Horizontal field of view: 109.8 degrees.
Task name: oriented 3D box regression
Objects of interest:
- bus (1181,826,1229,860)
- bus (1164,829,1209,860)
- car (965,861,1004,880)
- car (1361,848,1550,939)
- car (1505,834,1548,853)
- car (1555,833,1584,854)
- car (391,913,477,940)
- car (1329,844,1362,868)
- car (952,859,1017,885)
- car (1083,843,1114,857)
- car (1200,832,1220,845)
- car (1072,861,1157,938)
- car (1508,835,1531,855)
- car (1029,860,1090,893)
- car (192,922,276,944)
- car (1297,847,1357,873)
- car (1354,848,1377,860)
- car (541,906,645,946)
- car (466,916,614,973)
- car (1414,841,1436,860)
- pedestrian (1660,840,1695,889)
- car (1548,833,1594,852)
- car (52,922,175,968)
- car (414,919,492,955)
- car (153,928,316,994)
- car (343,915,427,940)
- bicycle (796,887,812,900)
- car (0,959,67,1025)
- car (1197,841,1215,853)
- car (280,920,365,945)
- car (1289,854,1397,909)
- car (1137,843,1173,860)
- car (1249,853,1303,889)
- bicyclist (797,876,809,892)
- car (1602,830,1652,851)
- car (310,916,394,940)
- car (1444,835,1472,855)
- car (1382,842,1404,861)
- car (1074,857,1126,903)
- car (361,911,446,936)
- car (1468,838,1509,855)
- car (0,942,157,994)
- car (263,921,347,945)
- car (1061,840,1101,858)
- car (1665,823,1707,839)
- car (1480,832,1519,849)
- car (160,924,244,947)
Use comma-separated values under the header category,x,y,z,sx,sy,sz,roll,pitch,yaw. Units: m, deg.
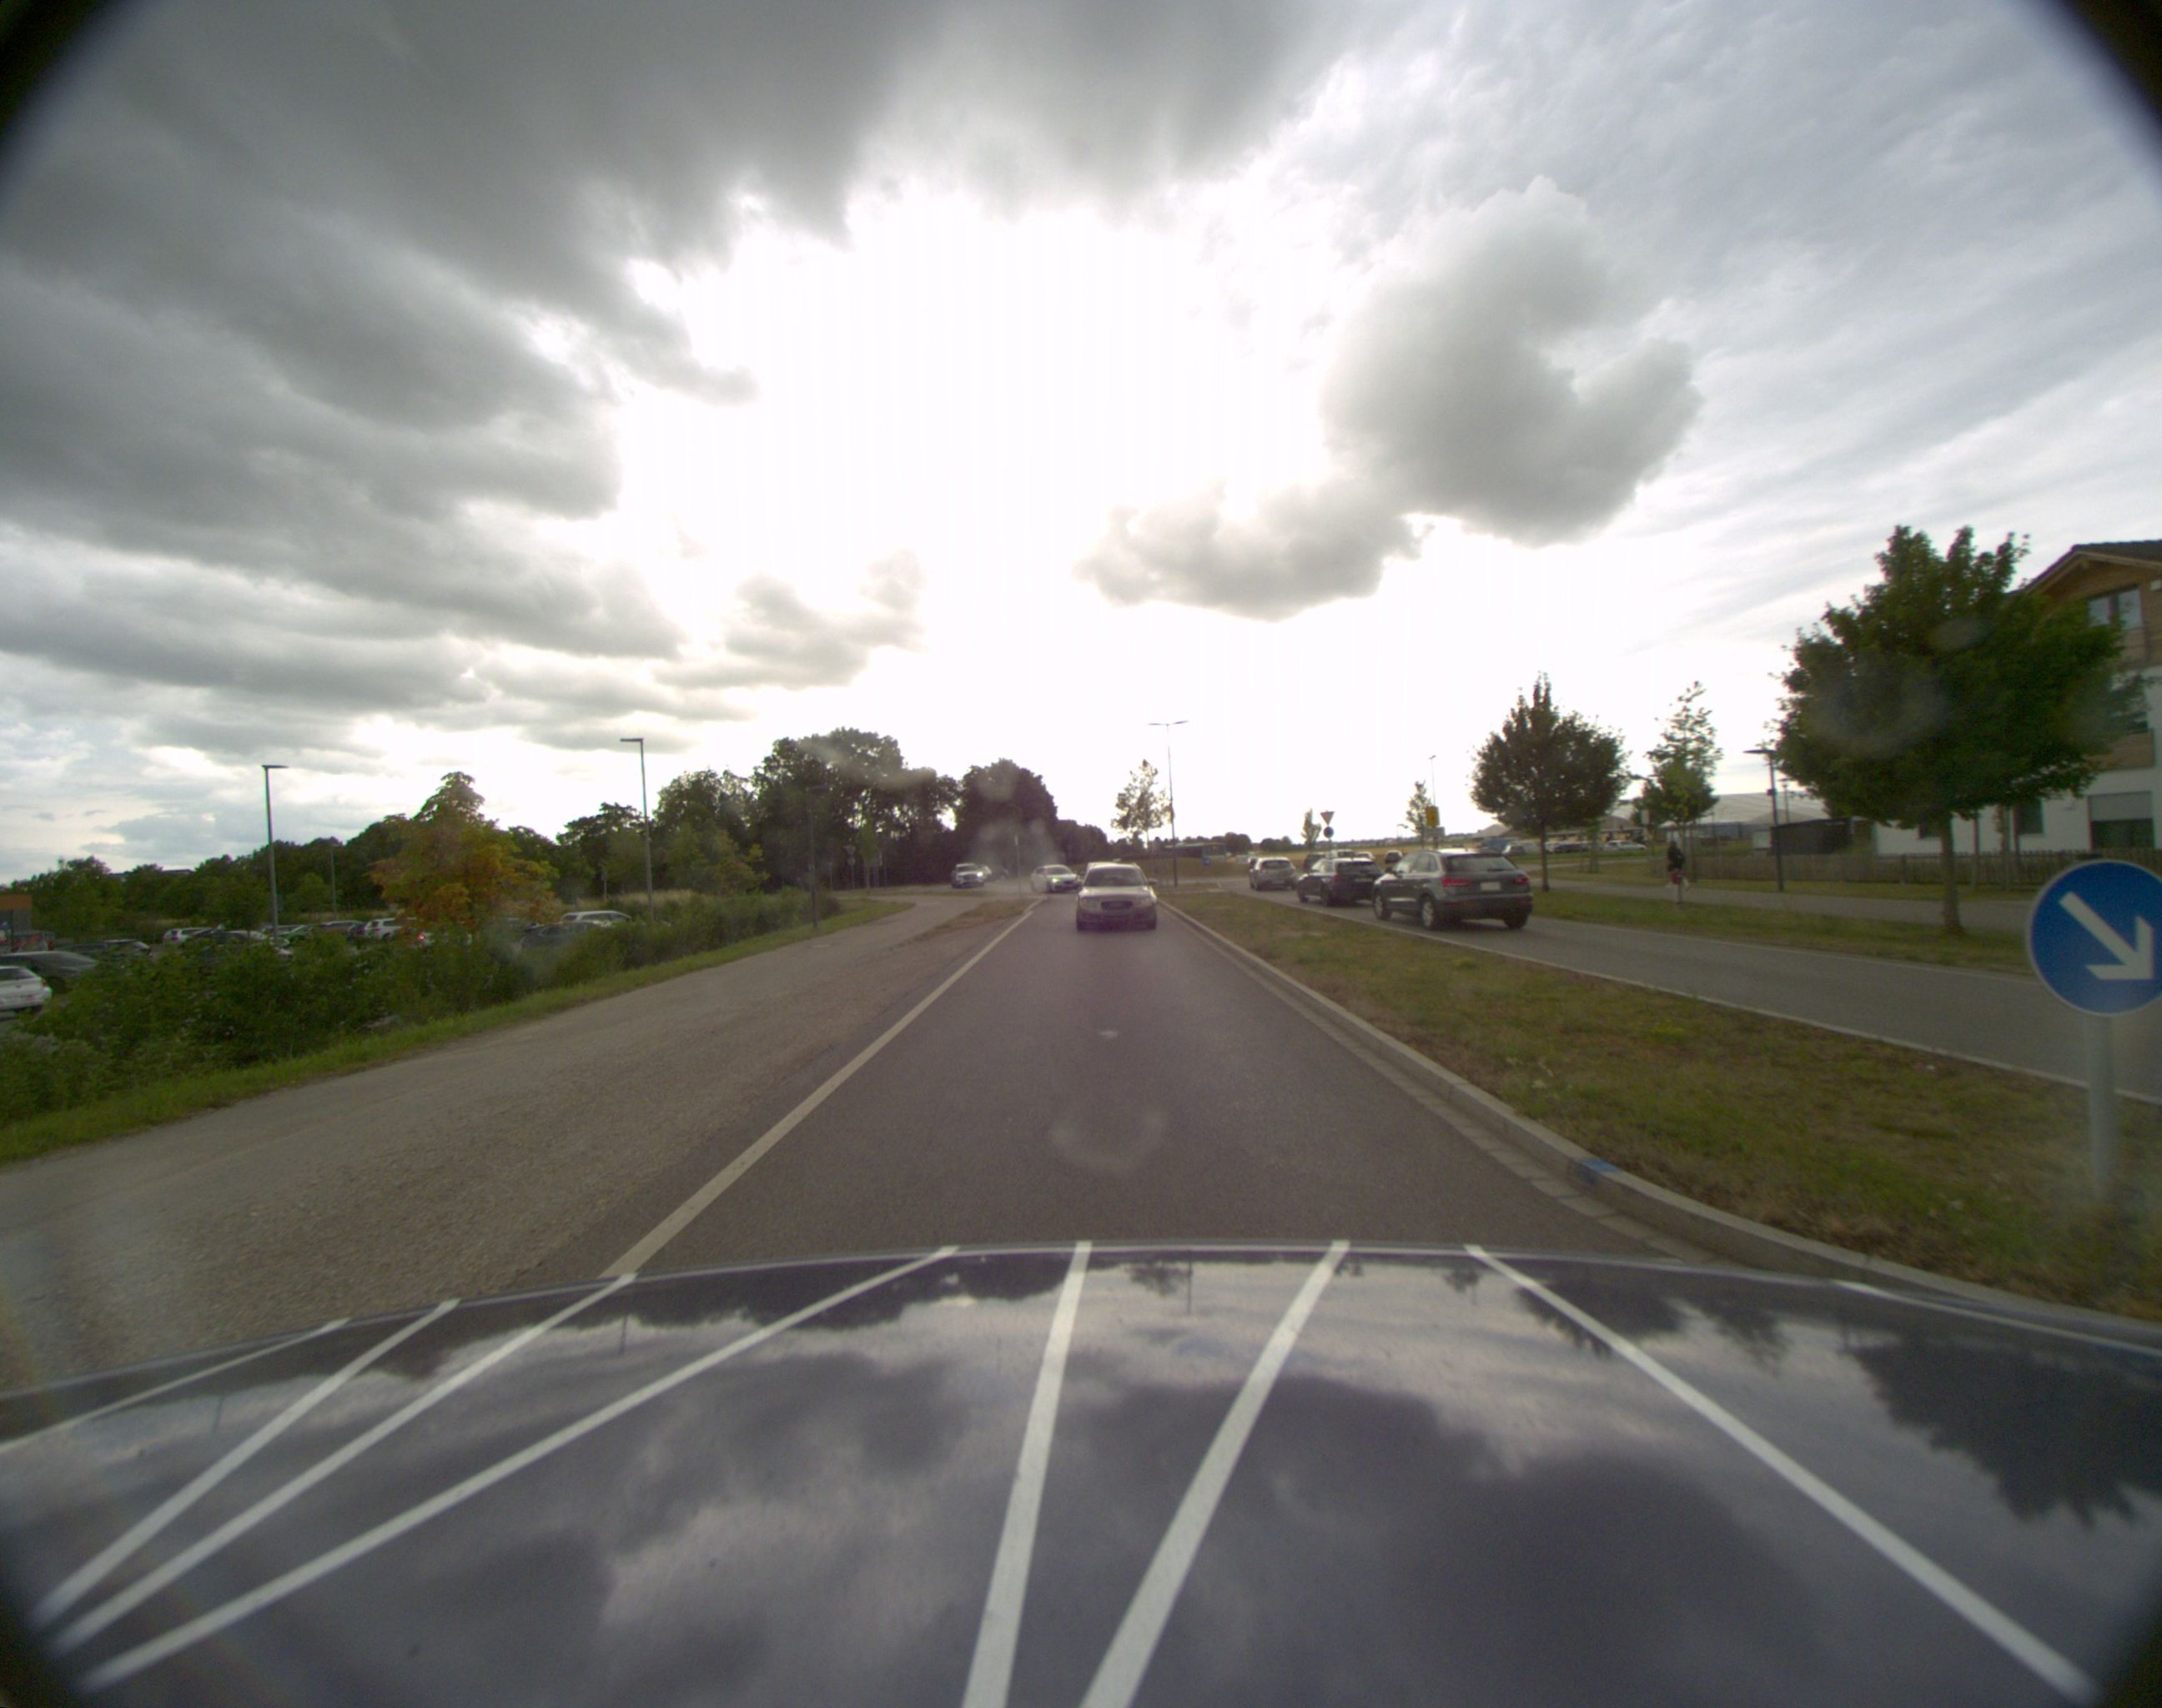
category,x,y,z,sx,sy,sz,roll,pitch,yaw
bus,12.986,-1.096,80.162,2.994,3.261,6.479,-2,0,-11
bus,11.931,-1.053,86.709,2.994,3.261,6.696,-2,0,-11
car,-8.329,1.433,65.887,1.996,1.510,3.775,-2,0,16
car,7.464,0.715,15.677,1.830,1.573,4.216,-2,0,1
car,52.203,-1.207,89.034,4.000,2.002,1.999,-2,0,-8
car,50.159,-1.074,78.102,2.227,2.002,4.007,-2,0,28
car,-43.339,4.825,50.952,1.697,1.352,4.007,-2,0,28
car,20.671,0.120,59.469,1.828,1.712,4.402,-2,1,11
car,-6.750,1.253,53.267,4.008,1.674,1.995,-2,0,-41
car,2.204,-0.539,93.466,1.995,1.674,4.008,-2,0,33
car,15.664,-1.847,92.333,1.774,1.435,4.000,-2,0,1
car,0.816,0.965,17.640,1.700,1.457,4.001,-2,0,4
car,46.745,-0.954,81.077,1.995,2.002,4.007,-2,0,28
car,-1.216,1.187,40.683,1.873,1.533,4.192,-4,0,-21
car,-66.028,6.134,59.296,1.697,1.352,4.007,-2,0,28
car,15.587,0.377,48.019,1.826,1.480,4.346,-2,0,43
car,32.042,-0.052,85.546,1.995,1.280,4.007,-2,0,25
car,-25.510,3.720,39.905,1.697,1.707,4.250,-2,0,28
car,-19.058,3.167,26.884,3.997,1.696,1.657,-2,0,-1
car,37.596,-0.398,83.004,1.995,2.002,4.007,-2,0,25
pedestrian,18.986,0.331,24.178,0.547,1.521,0.586,-5,0,1
car,54.724,-1.306,84.927,4.001,2.002,1.998,-2,0,-12
car,-47.872,4.500,37.642,3.994,2.002,2.001,-2,0,9
car,-32.334,4.239,39.267,1.846,1.352,3.993,-2,0,-20
car,-28.862,3.616,25.988,3.390,1.696,1.802,-5,0,-1
car,-49.438,5.193,54.040,1.697,1.352,4.007,-2,0,28
bicycle,-21.405,3.073,58.682,1.297,0.956,0.569,-2,0,41
car,-29.597,3.700,19.930,3.558,1.524,1.753,-2,0,-1
car,16.636,-0.929,101.340,1.774,1.435,4.000,-2,0,1
car,-55.229,5.684,55.394,1.697,1.352,4.007,-2,0,28
car,7.884,0.784,23.314,1.830,1.480,4.350,-2,0,1
car,7.959,-0.259,81.723,1.994,1.674,4.008,-2,0,37
car,8.740,0.746,34.367,1.829,1.480,4.218,-2,0,7
bicyclist,-21.478,2.339,58.719,0.657,1.236,0.556,-2,0,41
car,56.724,-1.399,78.952,4.001,2.002,1.998,-2,0,-12
car,-52.206,5.285,54.496,1.697,1.352,4.007,-2,0,28
car,40.226,-0.920,81.168,1.996,2.002,4.005,-2,0,16
car,34.719,-0.302,84.570,1.995,2.002,4.007,-2,0,25
car,0.865,0.985,31.246,1.870,1.578,5.063,-4,0,3
car,-46.674,4.766,52.449,1.697,1.352,4.007,-2,0,28
car,49.749,-0.893,92.734,4.001,2.002,1.998,-2,0,-12
car,-35.176,3.934,26.318,4.127,1.476,2.001,-2,0,5
car,-57.784,5.837,56.655,1.697,1.352,4.007,-2,0,28
car,0.006,-0.535,82.364,1.995,1.793,4.781,-2,0,33
car,81.760,-3.076,102.719,4.568,2.002,1.998,-2,0,-12
car,53.112,-1.762,96.489,4.001,2.002,1.998,-2,0,-12
car,-69.214,6.366,59.909,1.697,1.352,4.007,-2,0,28
